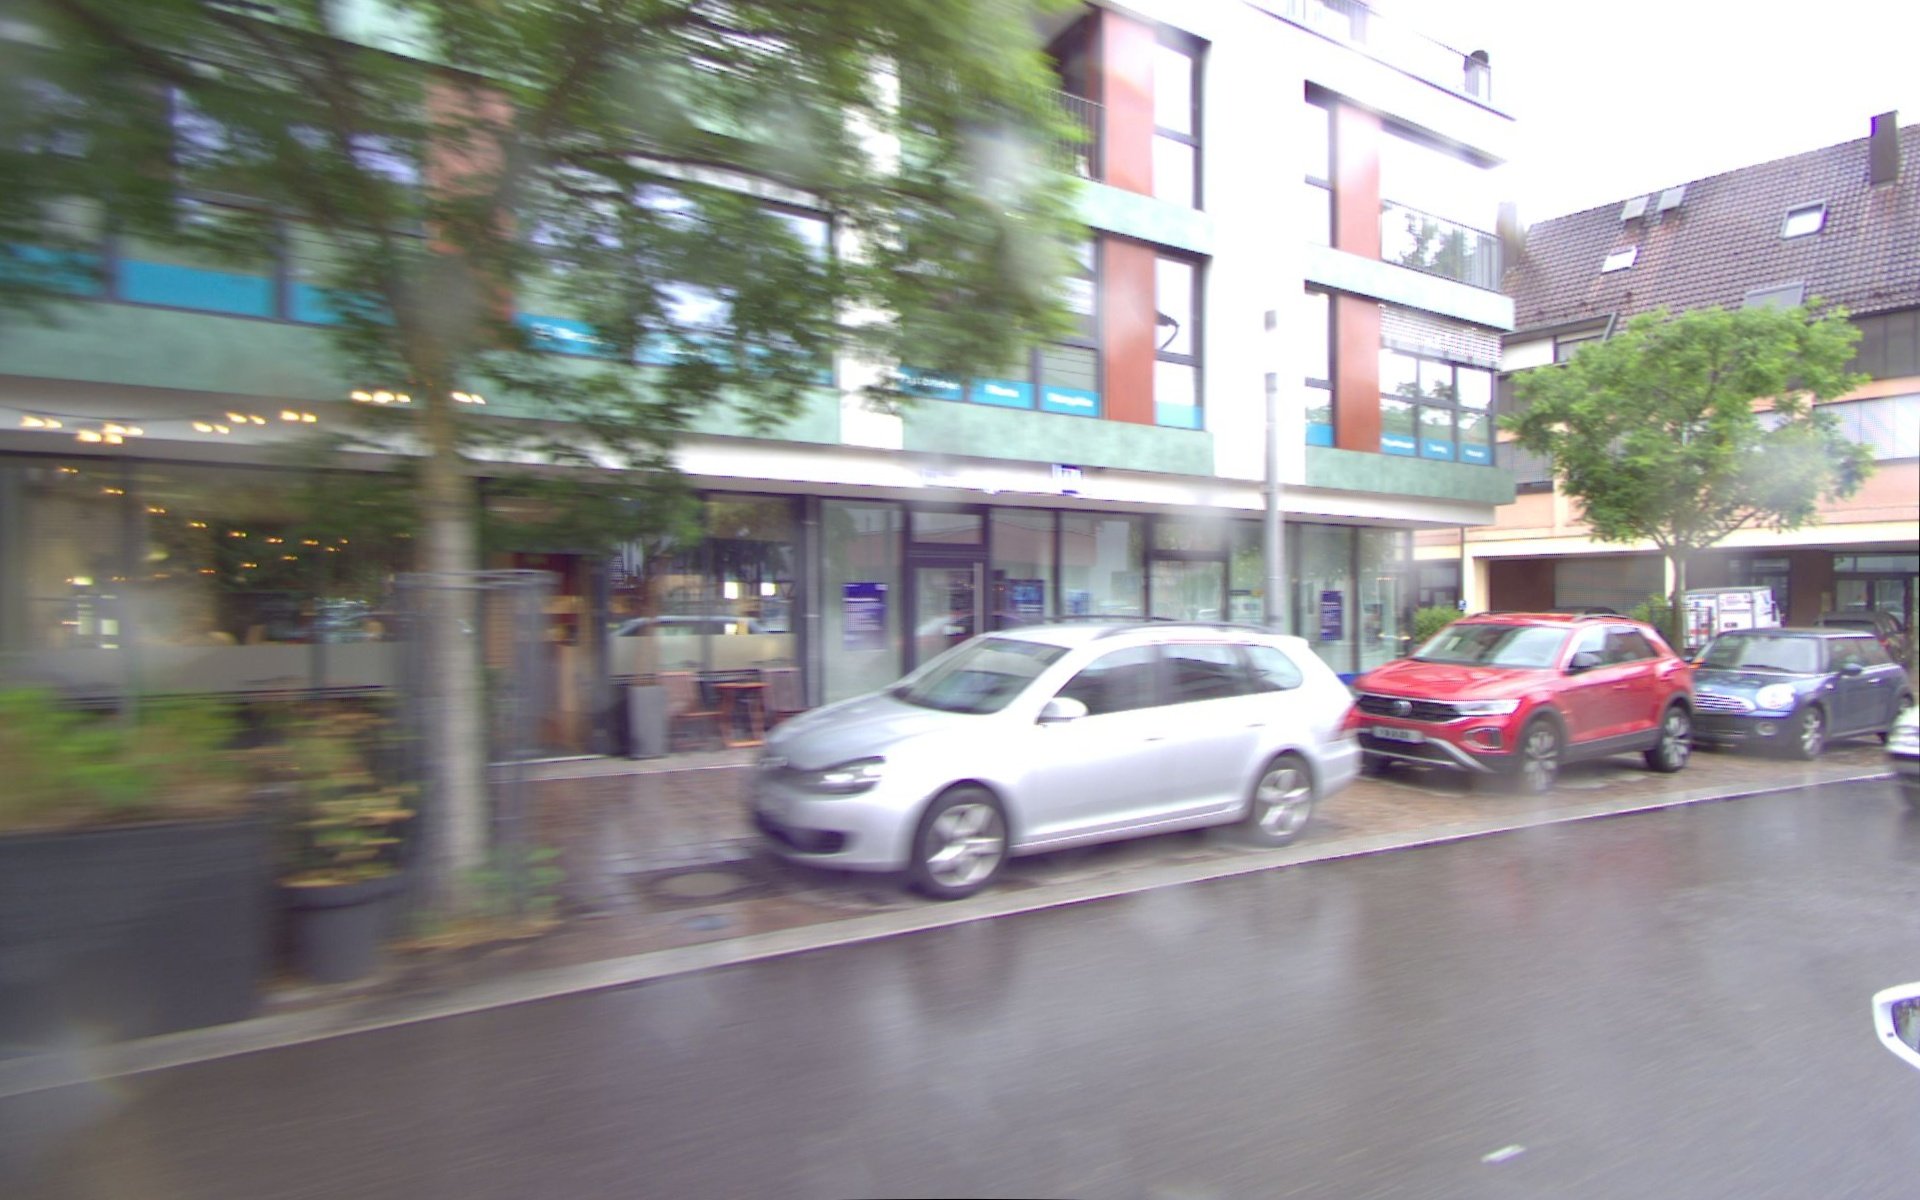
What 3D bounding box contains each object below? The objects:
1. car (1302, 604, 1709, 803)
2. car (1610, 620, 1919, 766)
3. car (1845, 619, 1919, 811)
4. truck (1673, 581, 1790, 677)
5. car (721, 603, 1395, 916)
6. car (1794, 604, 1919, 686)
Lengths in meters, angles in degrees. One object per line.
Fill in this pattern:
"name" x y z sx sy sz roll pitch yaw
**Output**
"car" 5.453 0.885 9.929 4.061 1.597 1.777 1 -2 -32
"car" 9.851 1.007 12.164 3.862 1.477 1.707 1 0 -29
"car" 9.147 0.861 8.081 3.980 1.436 1.783 1 -3 -29
"truck" 19.434 0.695 25.270 3.165 2.090 1.584 -5 1 -39
"car" 0.801 0.831 6.821 4.404 1.518 1.777 1 -2 -32
"car" 20.842 0.966 23.257 3.788 1.499 1.566 -5 3 -38
